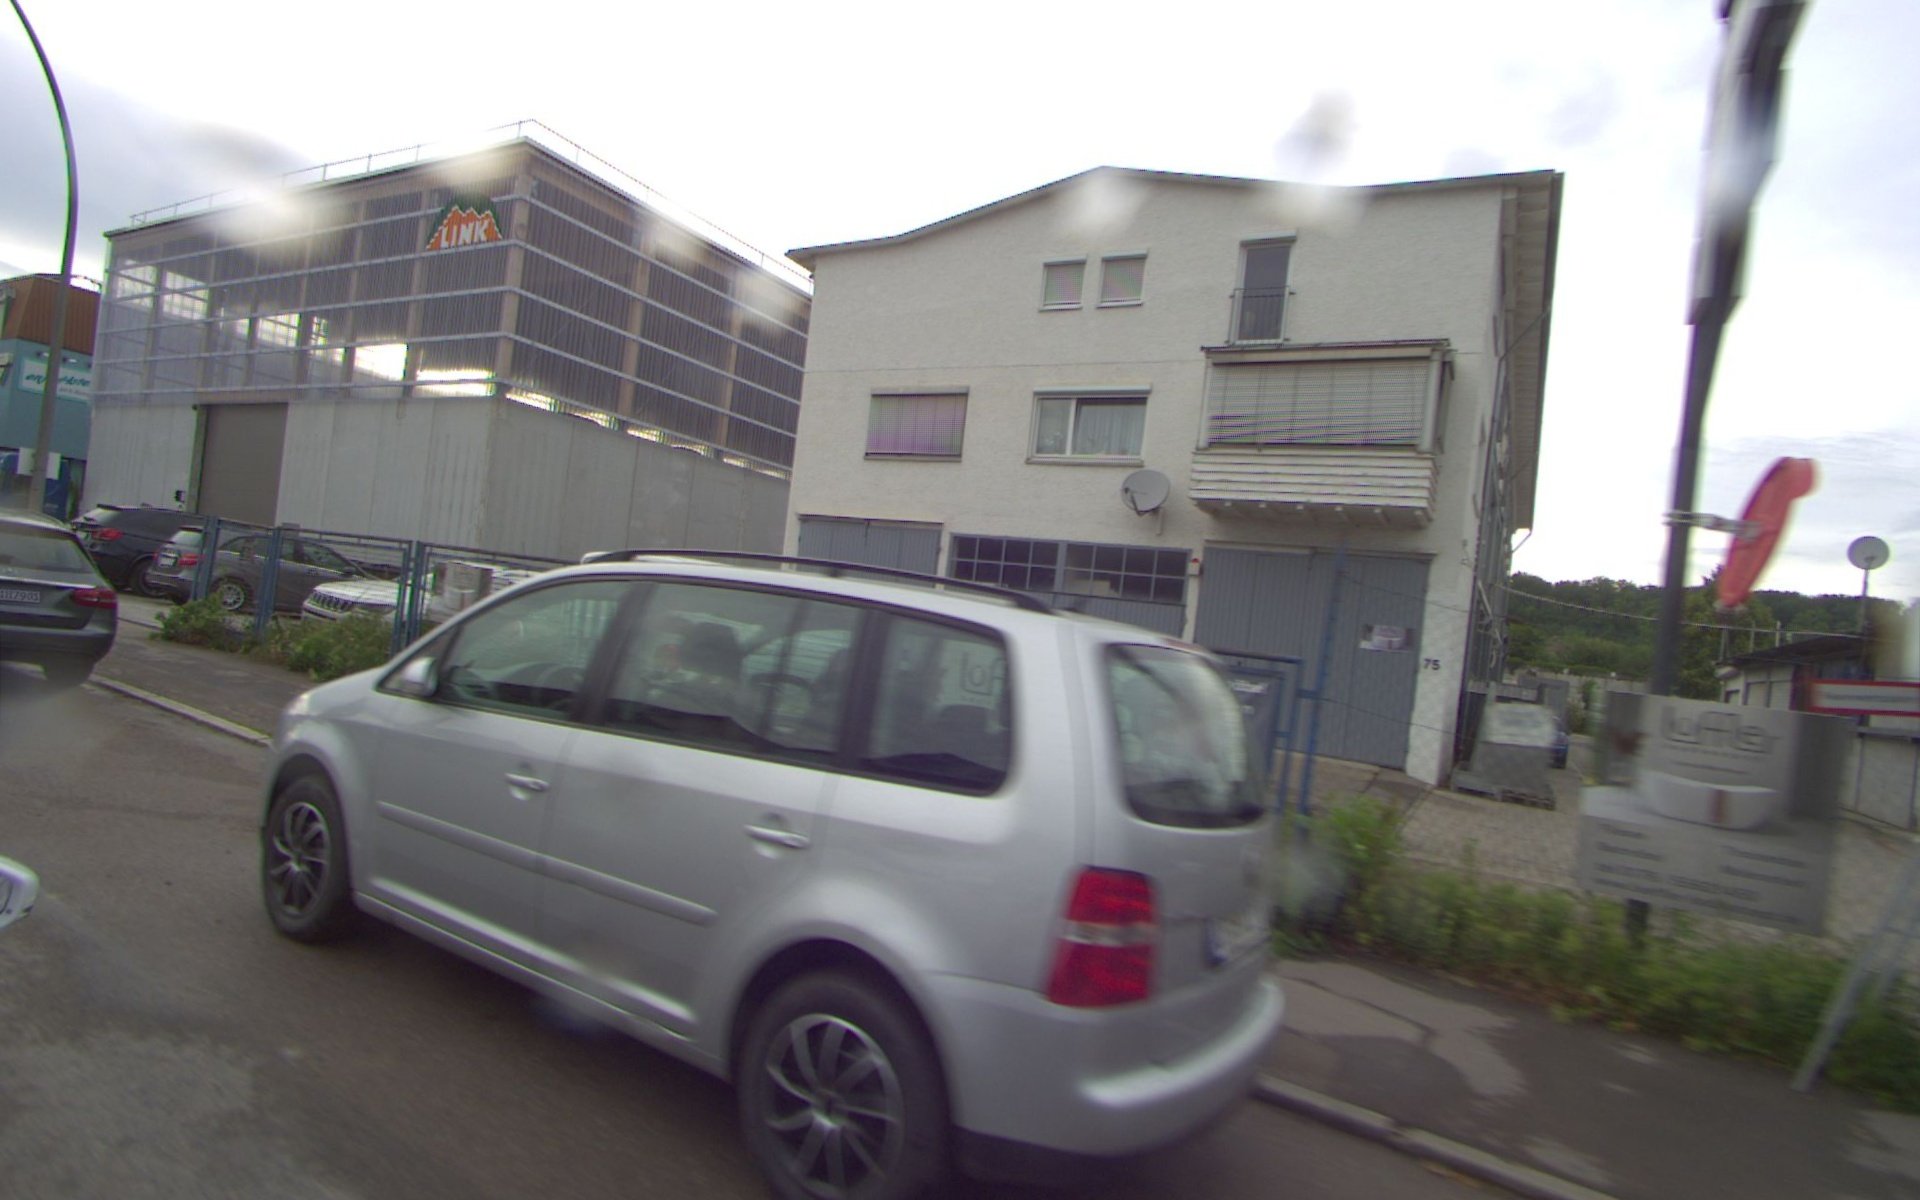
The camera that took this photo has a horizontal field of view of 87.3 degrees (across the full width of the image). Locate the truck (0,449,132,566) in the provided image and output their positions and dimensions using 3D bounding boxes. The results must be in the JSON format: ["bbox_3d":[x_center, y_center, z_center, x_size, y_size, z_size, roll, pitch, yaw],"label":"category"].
[{"bbox_3d":[-36.459,-3.664,40.148,2.673,3.711,4.160,7,-4,28],"label":"truck"}]

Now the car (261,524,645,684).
[{"bbox_3d":[-6.941,0.172,14.321,1.861,1.642,4.457,7,-3,30],"label":"car"}]

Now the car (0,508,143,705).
[{"bbox_3d":[-9.264,-0.166,8.816,4.470,1.483,1.743,6,-2,31],"label":"car"}]

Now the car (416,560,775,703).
[{"bbox_3d":[-4.713,0.529,13.704,1.819,1.394,4.331,7,-3,30],"label":"car"}]

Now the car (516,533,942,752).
[{"bbox_3d":[-2.384,0.617,11.793,1.967,1.907,4.743,6,-3,31],"label":"car"}]

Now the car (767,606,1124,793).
[{"bbox_3d":[0.063,1.103,11.150,1.967,1.473,4.113,6,-3,31],"label":"car"}]

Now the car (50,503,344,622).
[{"bbox_3d":[-15.369,-0.702,20.497,1.949,1.693,4.234,6,-3,33],"label":"car"}]

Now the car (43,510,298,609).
[{"bbox_3d":[-17.393,-0.842,22.363,1.803,1.506,3.974,7,-2,32],"label":"car"}]

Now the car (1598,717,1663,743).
[{"bbox_3d":[45.338,8.802,68.089,3.460,1.160,1.613,6,-3,32],"label":"car"}]

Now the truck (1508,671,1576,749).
[{"bbox_3d":[24.260,4.527,42.048,2.039,2.812,4.608,7,0,29],"label":"truck"}]

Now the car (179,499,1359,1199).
[{"bbox_3d":[-0.987,0.671,3.870,4.302,1.640,1.742,6,-2,33],"label":"car"}]

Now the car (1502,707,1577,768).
[{"bbox_3d":[17.098,4.006,29.731,1.668,1.430,3.774,7,-2,30],"label":"car"}]

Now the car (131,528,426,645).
[{"bbox_3d":[-12.970,-0.189,19.447,1.781,1.552,4.255,6,-3,31],"label":"car"}]
